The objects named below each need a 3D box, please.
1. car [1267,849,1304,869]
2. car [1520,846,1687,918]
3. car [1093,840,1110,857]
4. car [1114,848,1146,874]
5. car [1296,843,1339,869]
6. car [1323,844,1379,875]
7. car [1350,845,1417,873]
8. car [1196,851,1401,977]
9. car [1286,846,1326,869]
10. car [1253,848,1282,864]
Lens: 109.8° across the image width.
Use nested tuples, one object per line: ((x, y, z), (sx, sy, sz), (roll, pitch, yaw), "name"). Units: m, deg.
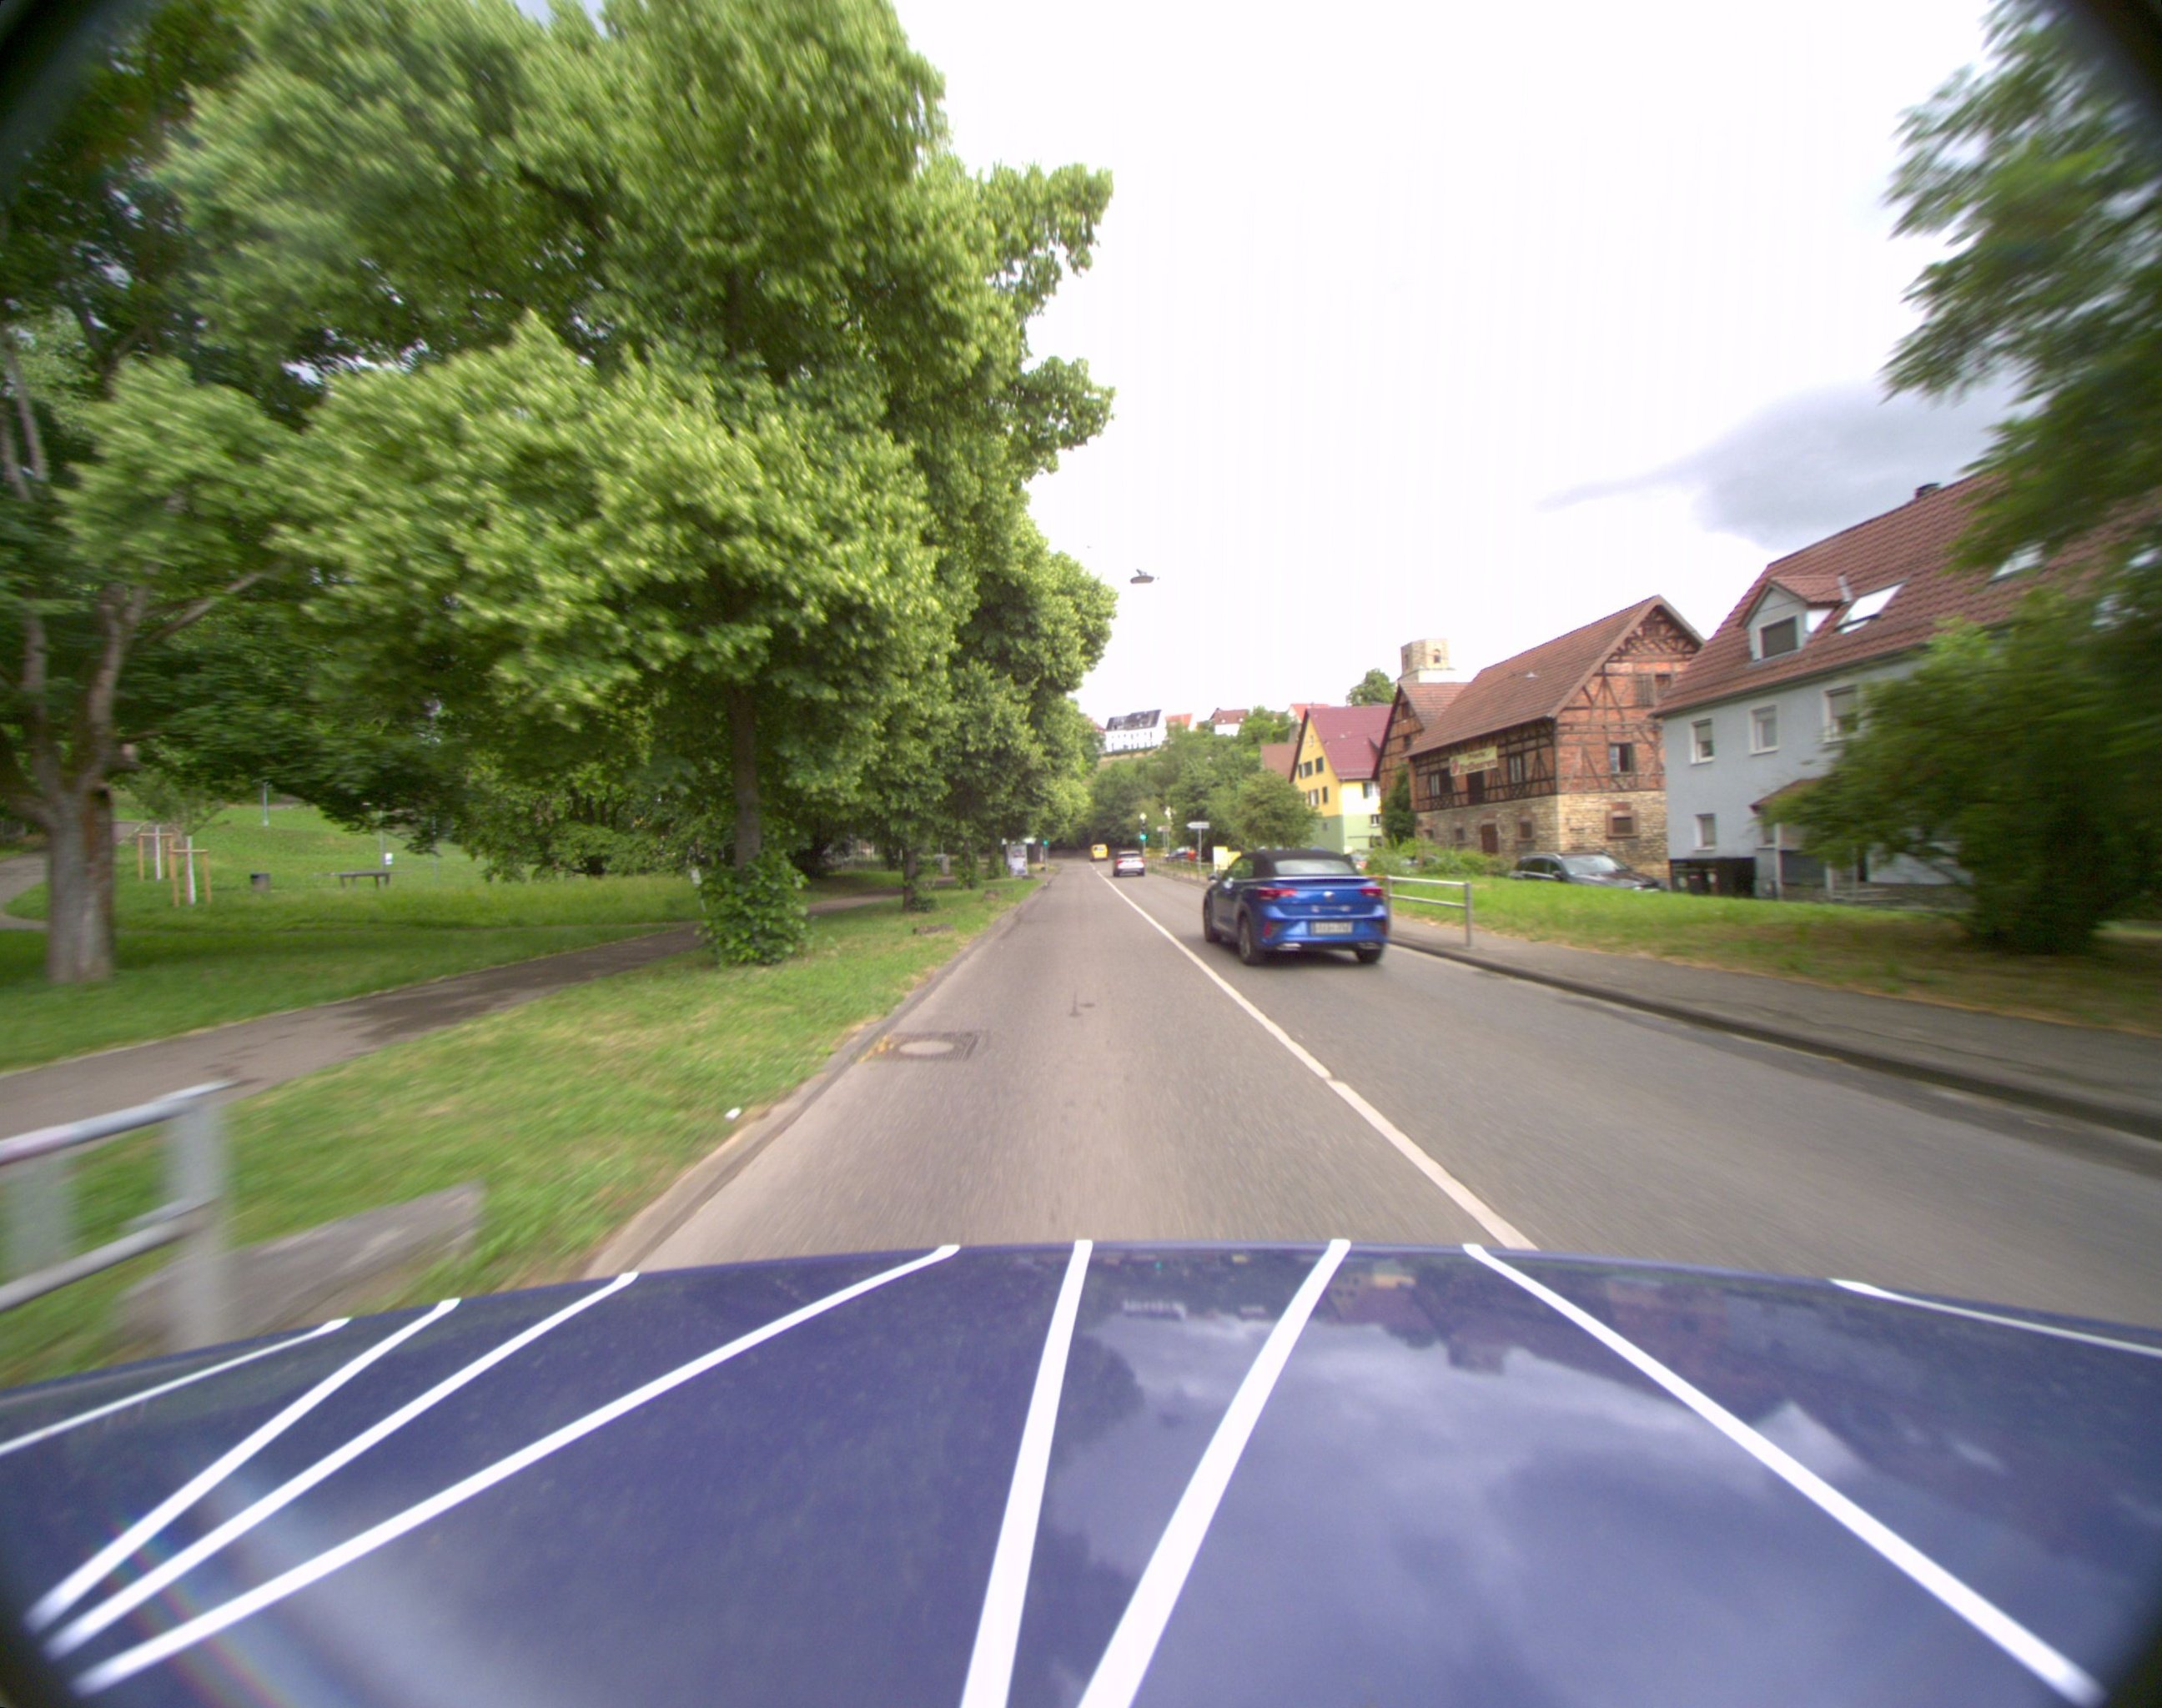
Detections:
((16.868, 0.383, 62.789), (1.998, 1.608, 4.448), (-1, 1, 2), "car")
((13.526, 0.654, 19.998), (1.925, 1.685, 4.001), (-1, 1, 6), "car")
((2.532, -0.721, 93.803), (1.850, 1.919, 4.768), (-3, 1, 0), "car")
((2.958, 0.404, 46.746), (1.709, 1.503, 3.999), (-1, 1, 0), "car")
((15.941, 0.106, 51.338), (1.816, 1.608, 4.000), (-1, 1, 3), "car")
((14.832, 0.285, 41.964), (1.816, 1.608, 4.000), (-1, 1, 3), "car")
((14.633, 0.214, 36.942), (1.998, 1.269, 4.001), (-1, 1, 6), "car")
((2.915, 0.723, 11.135), (1.720, 1.460, 4.098), (-1, 0, -1), "car")
((16.477, 0.198, 55.863), (1.953, 1.608, 4.000), (-1, 1, 3), "car")
((17.105, 0.153, 69.803), (1.649, 1.337, 4.151), (-1, 0, 0), "car")
